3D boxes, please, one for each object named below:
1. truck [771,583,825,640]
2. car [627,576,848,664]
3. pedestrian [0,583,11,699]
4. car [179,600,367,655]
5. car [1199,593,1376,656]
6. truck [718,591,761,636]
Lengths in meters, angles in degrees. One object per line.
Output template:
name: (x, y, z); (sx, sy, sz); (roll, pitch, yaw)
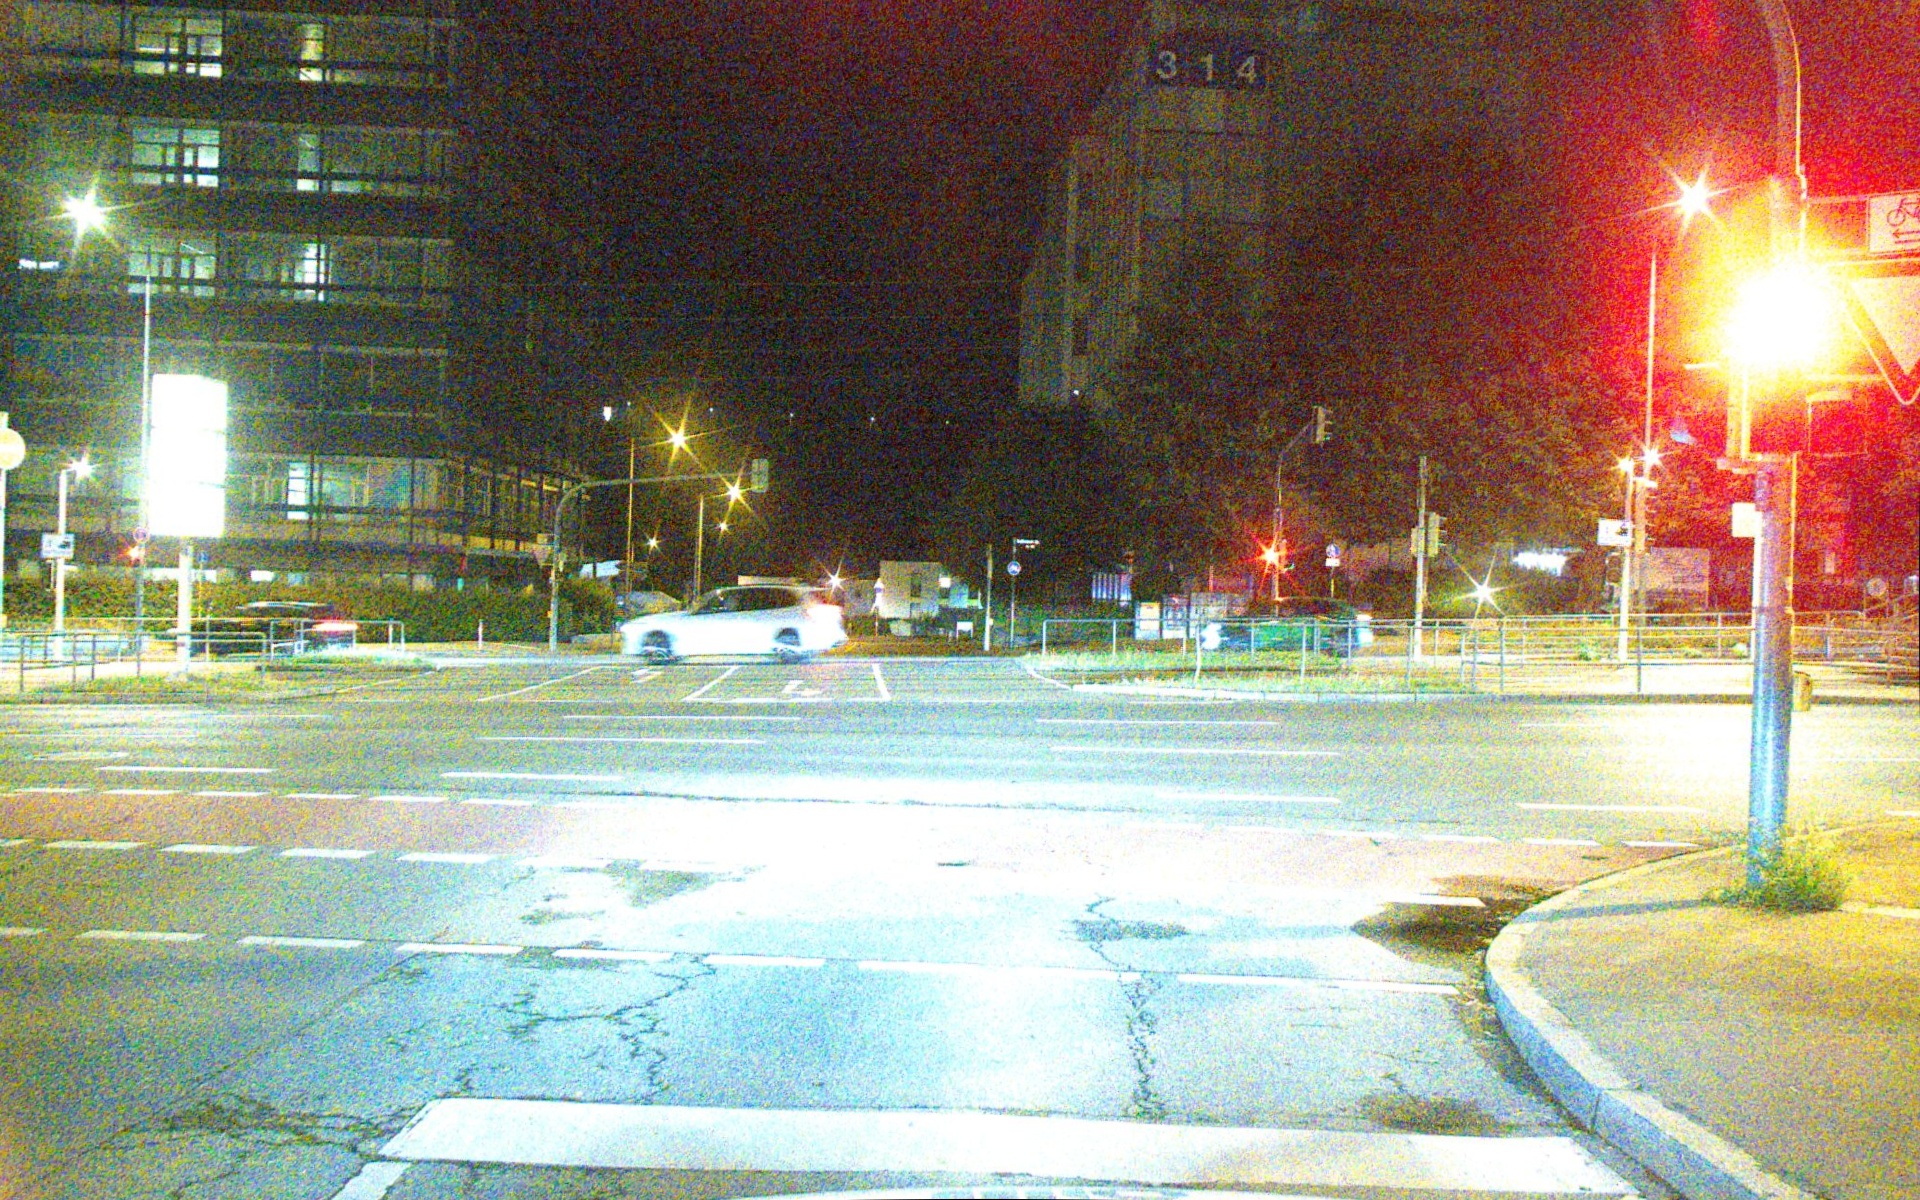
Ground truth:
truck: (-14.626, 1.026, 148.605); (3.307, 4.927, 7.868); (2, -1, -17)
car: (-4.989, 0.457, 37.451); (4.680, 1.876, 1.843); (-1, -1, 2)
pedestrian: (-14.854, 0.608, 24.879); (0.663, 1.752, 0.706); (1, -1, 22)
car: (-18.315, 0.738, 44.192); (4.237, 1.412, 1.843); (-1, -1, 2)
car: (7.887, 0.578, 40.066); (3.976, 1.449, 1.844); (0, 2, 2)
truck: (-16.250, 0.992, 121.523); (2.377, 3.143, 6.414); (2, -1, -14)
